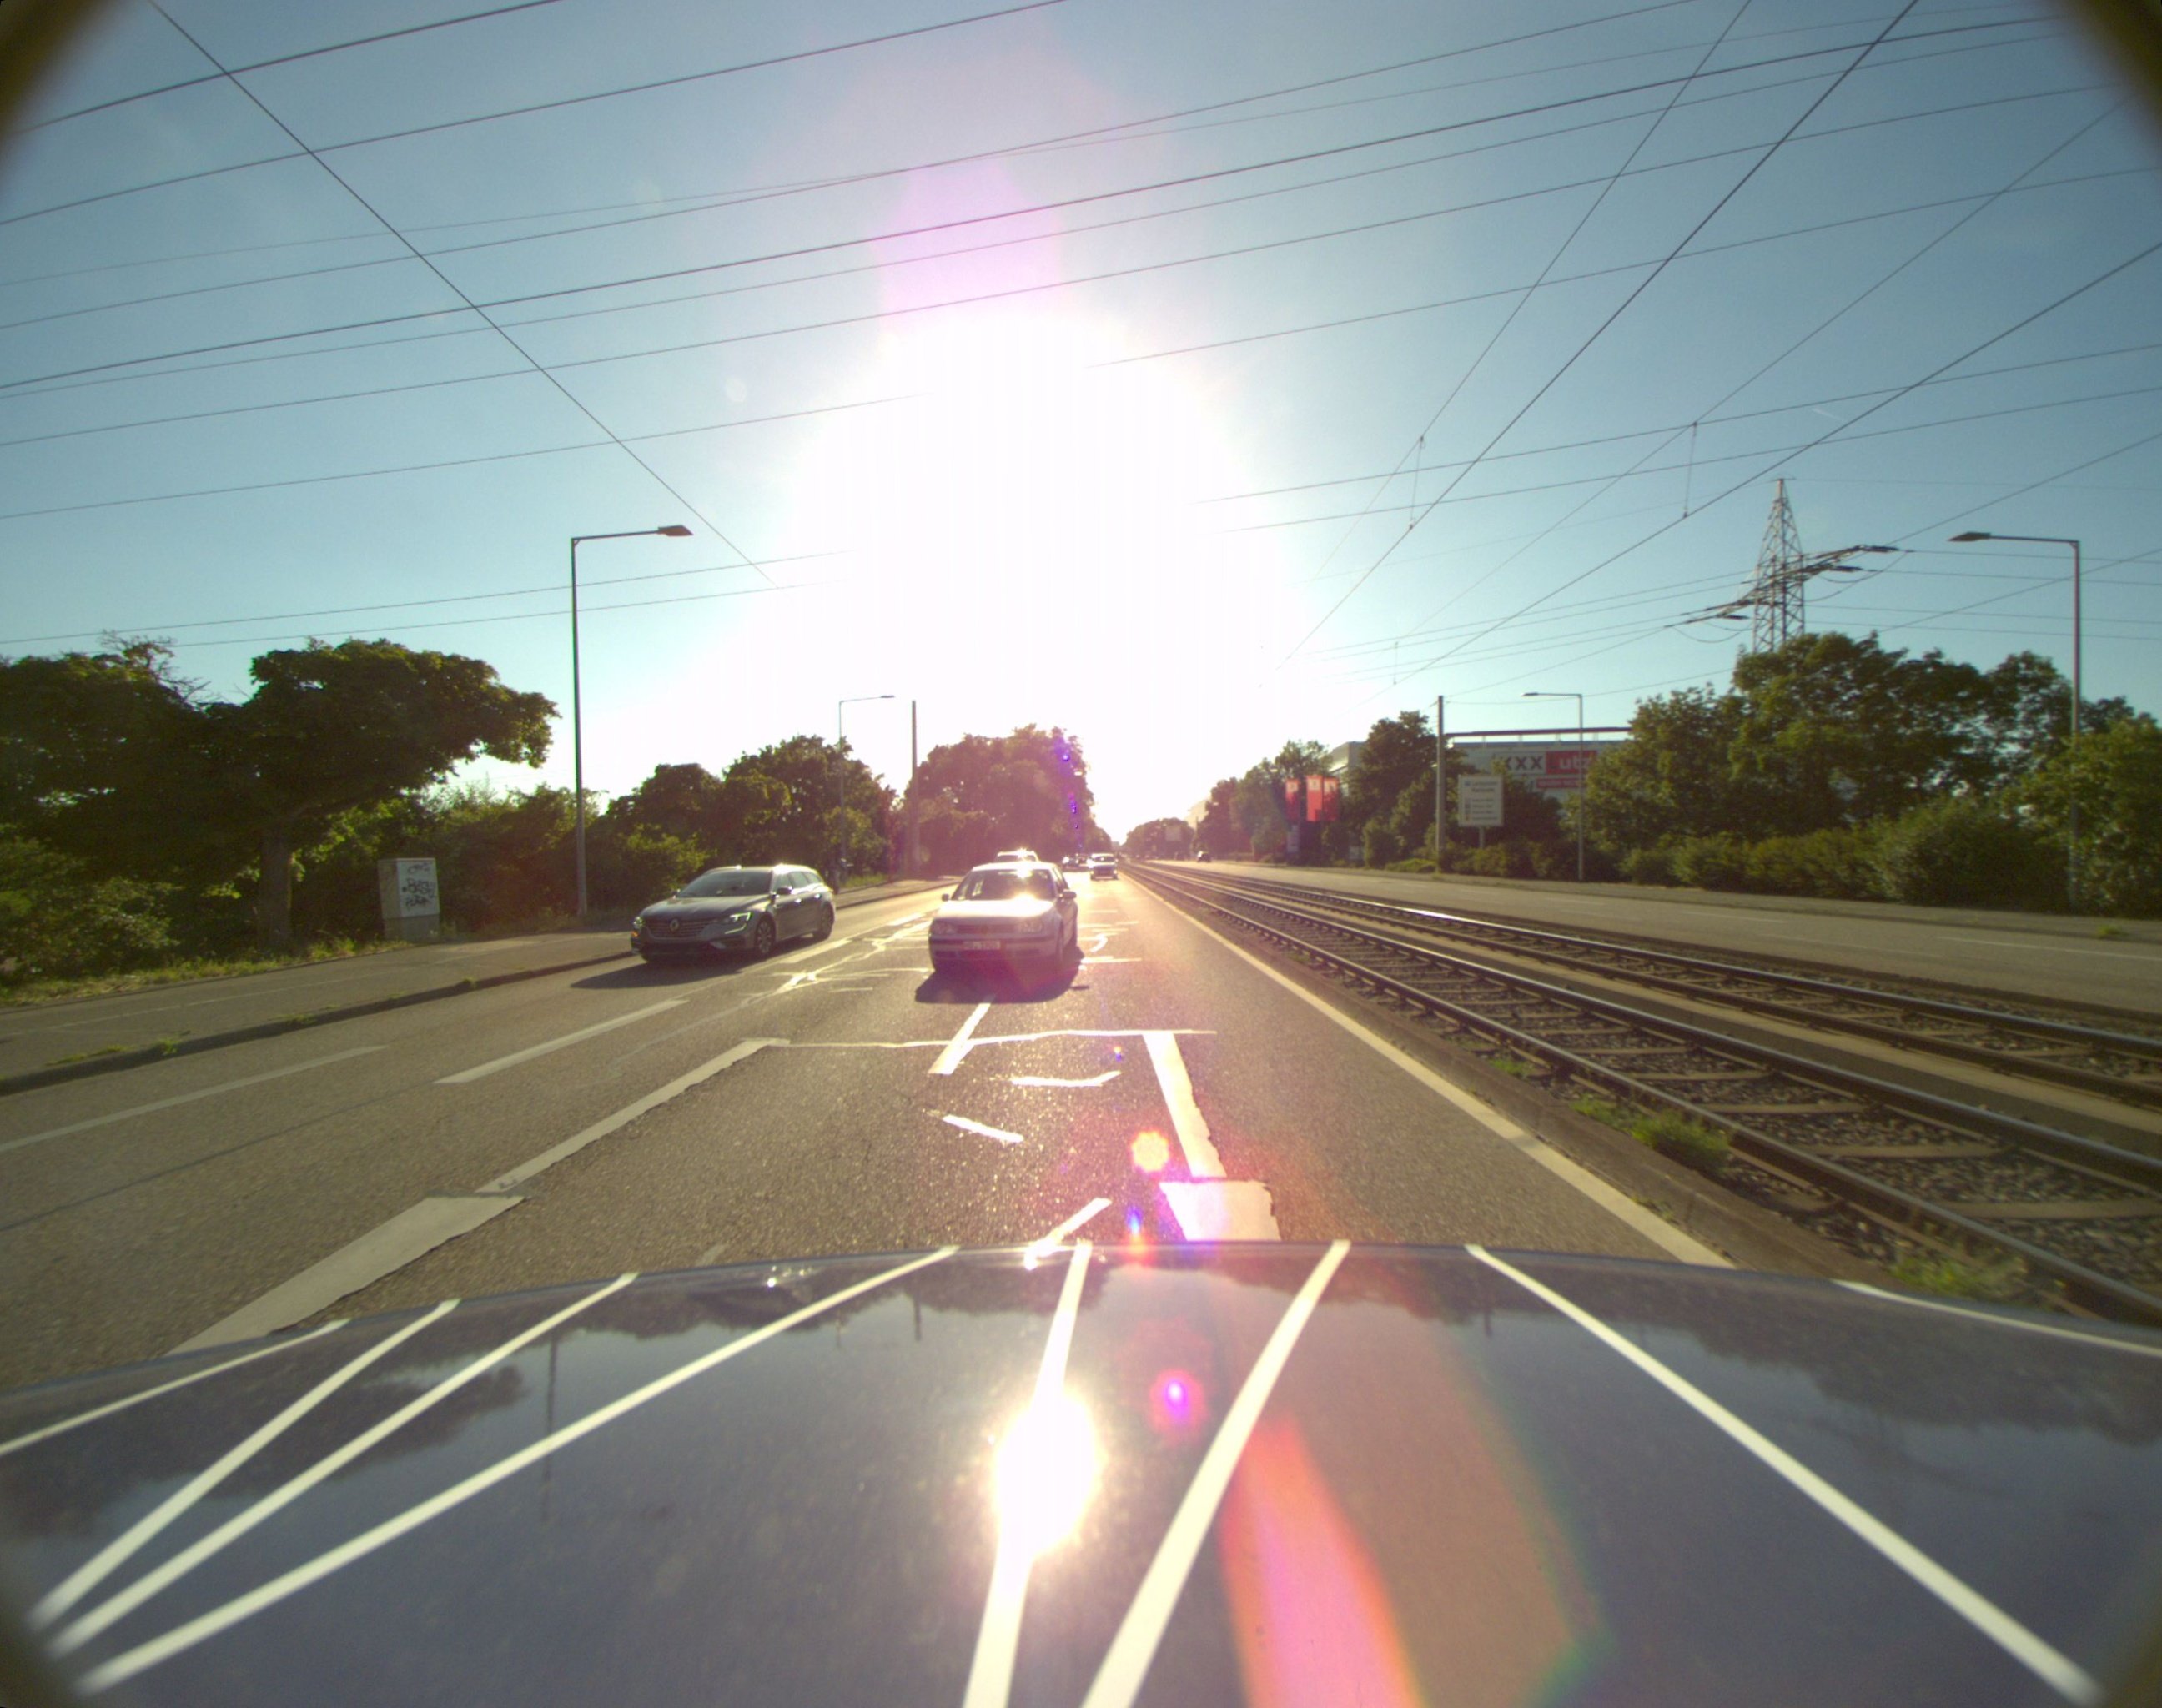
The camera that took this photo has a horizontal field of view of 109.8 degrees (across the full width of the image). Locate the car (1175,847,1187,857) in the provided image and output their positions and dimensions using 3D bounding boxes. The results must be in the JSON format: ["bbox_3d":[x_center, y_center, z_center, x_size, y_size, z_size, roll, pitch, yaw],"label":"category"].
[{"bbox_3d":[20.150,-0.429,153.499,1.998,1.785,4.349,0,1,1],"label":"car"}]

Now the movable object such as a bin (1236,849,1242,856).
[{"bbox_3d":[23.038,-0.181,110.872,0.614,0.960,1.083,-3,1,1],"label":"movable object such as a bin"}]

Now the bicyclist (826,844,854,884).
[{"bbox_3d":[-9.083,0.373,28.639,0.628,1.463,1.060,3,1,1],"label":"bicyclist"}]

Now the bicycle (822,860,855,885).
[{"bbox_3d":[-9.110,0.683,28.610,0.628,0.829,1.635,3,1,2],"label":"bicycle"}]

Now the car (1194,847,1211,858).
[{"bbox_3d":[18.849,-0.232,117.765,1.998,1.616,4.683,0,1,1],"label":"car"}]

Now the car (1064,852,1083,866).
[{"bbox_3d":[-0.860,0.592,88.480,1.881,1.449,4.416,-1,1,2],"label":"car"}]

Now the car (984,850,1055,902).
[{"bbox_3d":[-2.051,0.696,26.530,1.881,1.591,4.416,-1,1,2],"label":"car"}]

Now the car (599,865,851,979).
[{"bbox_3d":[-5.751,1.009,13.084,1.881,1.435,4.660,-1,1,3],"label":"car"}]

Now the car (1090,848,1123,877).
[{"bbox_3d":[1.566,0.494,45.869,1.881,1.591,4.416,-1,1,2],"label":"car"}]

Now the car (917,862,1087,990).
[{"bbox_3d":[-0.960,0.906,11.304,1.694,1.437,4.002,-1,1,6],"label":"car"}]
